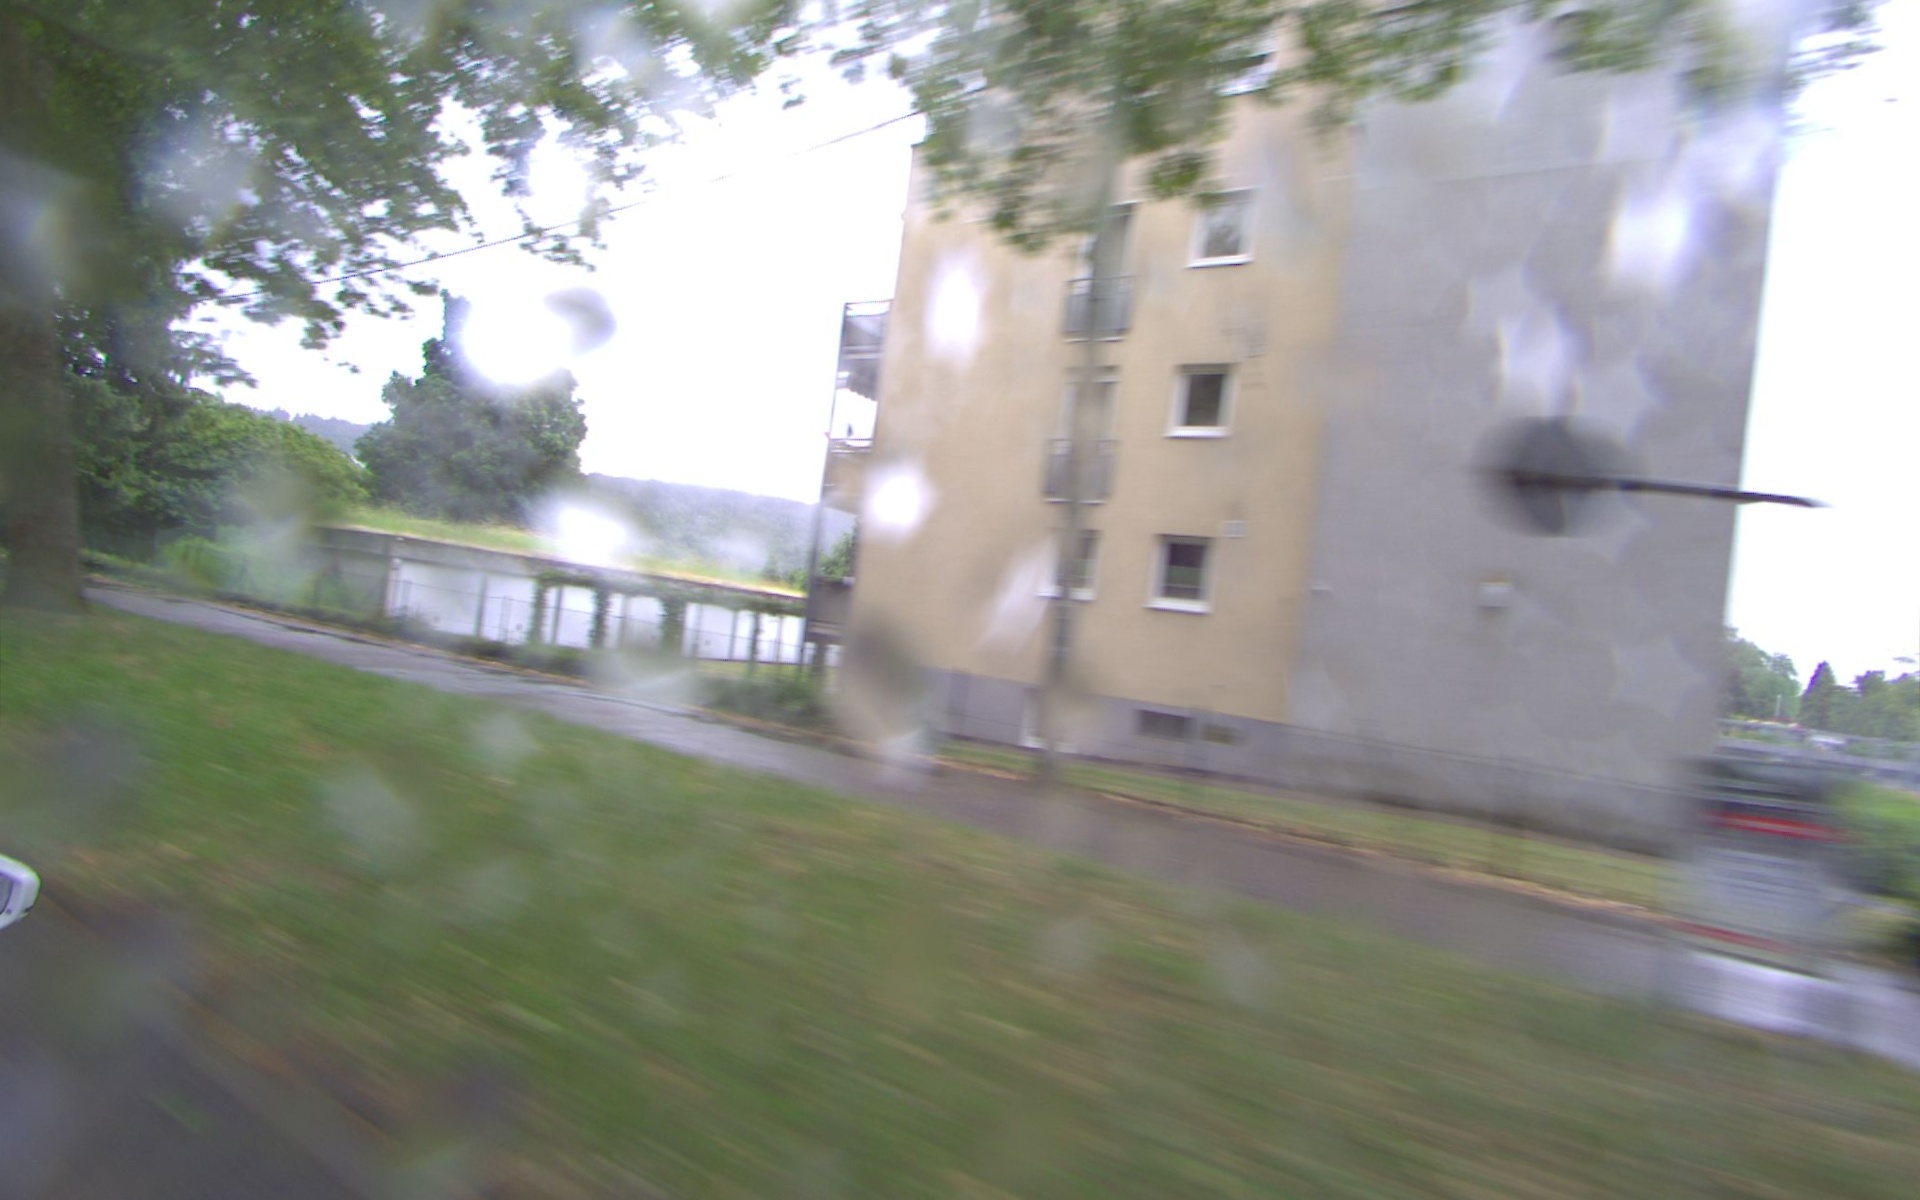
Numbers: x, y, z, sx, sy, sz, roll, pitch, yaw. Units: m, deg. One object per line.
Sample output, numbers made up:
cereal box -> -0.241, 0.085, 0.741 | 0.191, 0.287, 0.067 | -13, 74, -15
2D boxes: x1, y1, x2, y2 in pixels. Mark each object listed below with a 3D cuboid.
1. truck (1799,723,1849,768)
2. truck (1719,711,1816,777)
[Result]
truck -> 63.043, 10.588, 73.481 | 2.050, 2.819, 5.224 | 7, -1, 36
truck -> 43.315, 7.632, 54.224 | 2.500, 2.884, 8.523 | 7, -2, 30
